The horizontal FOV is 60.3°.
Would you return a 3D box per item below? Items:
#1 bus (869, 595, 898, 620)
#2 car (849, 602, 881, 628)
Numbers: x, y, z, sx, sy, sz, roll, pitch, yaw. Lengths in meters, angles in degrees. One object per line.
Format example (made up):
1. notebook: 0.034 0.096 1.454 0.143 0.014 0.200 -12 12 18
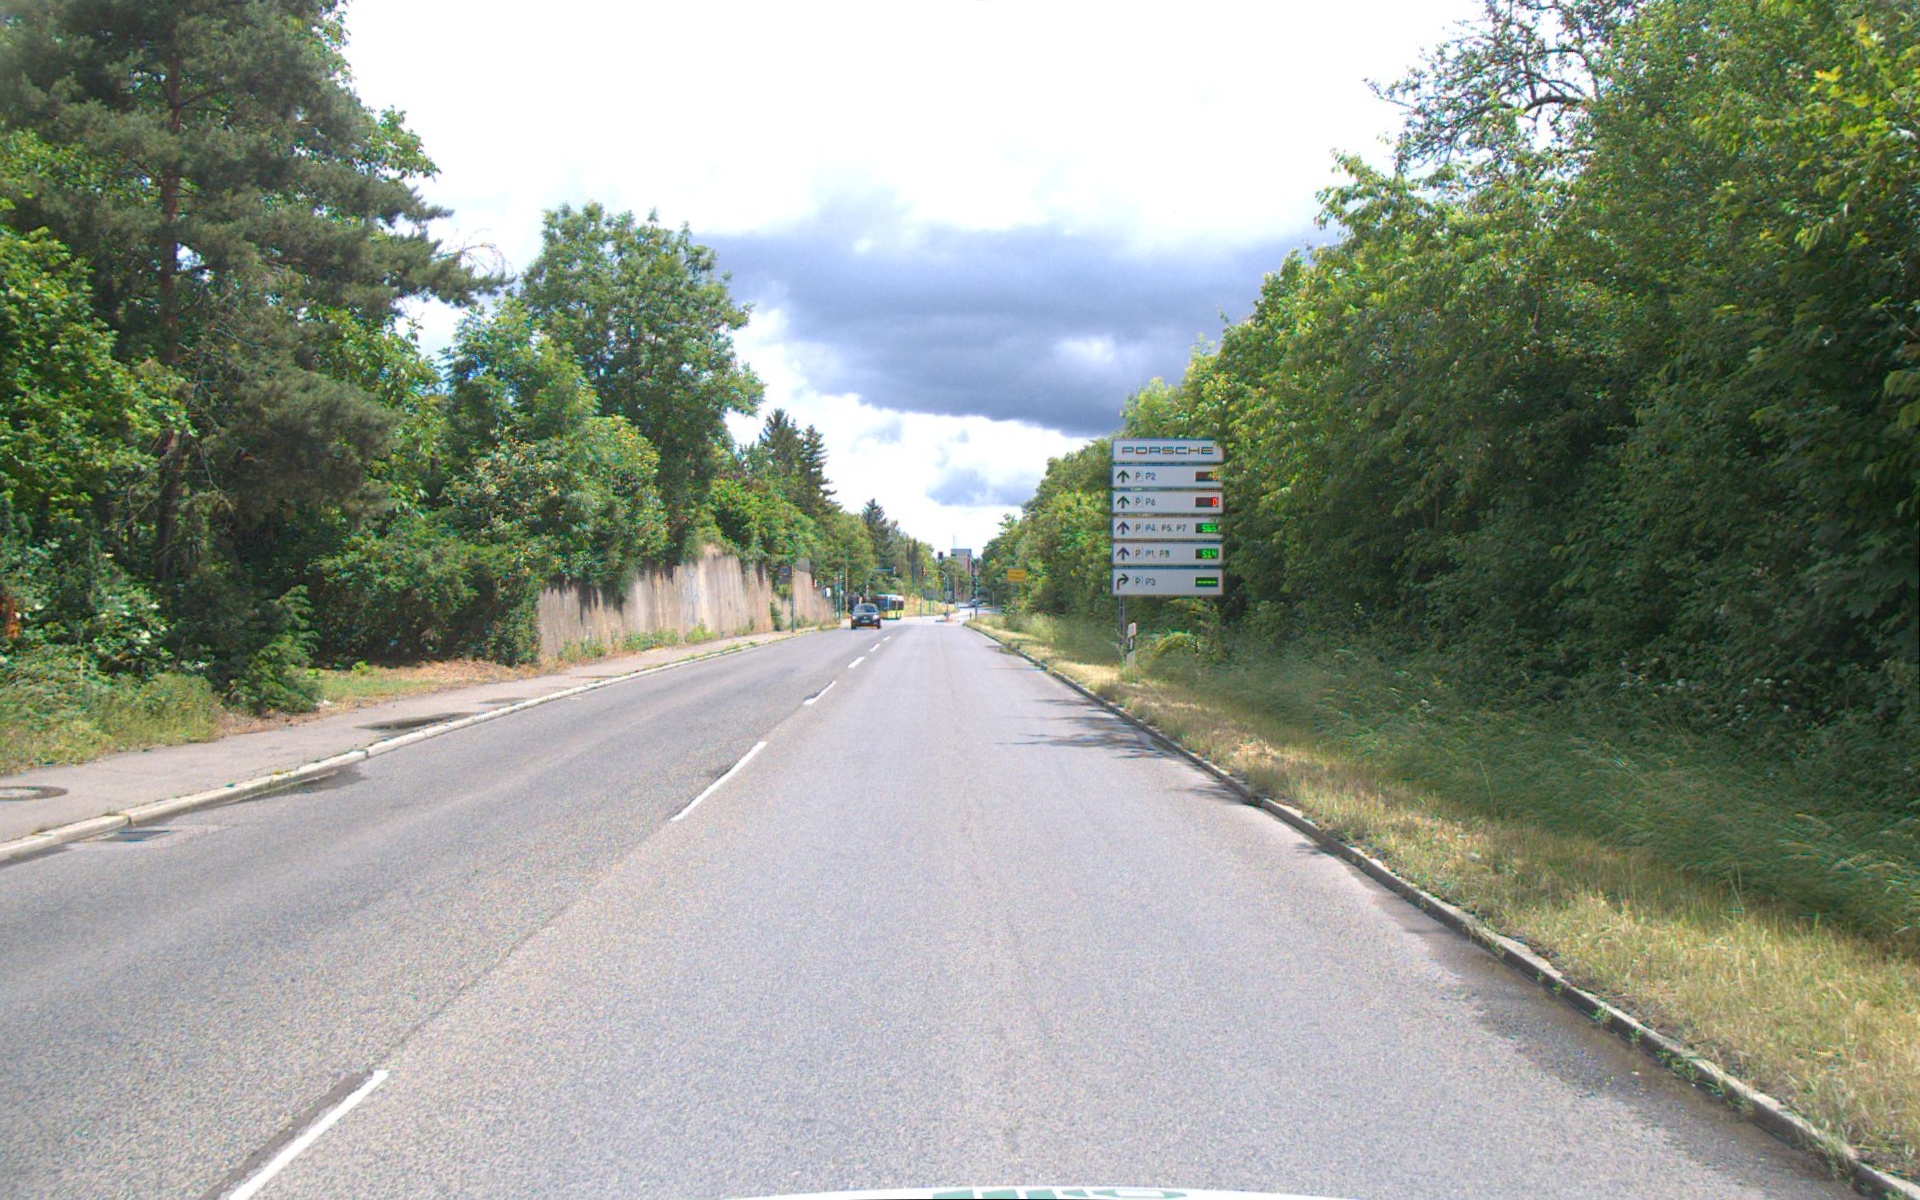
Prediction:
1. bus: -9.605 0.877 208.389 2.834 2.949 7.670 2 1 2
2. car: -5.575 0.875 97.644 1.716 1.489 3.999 -1 0 -1
